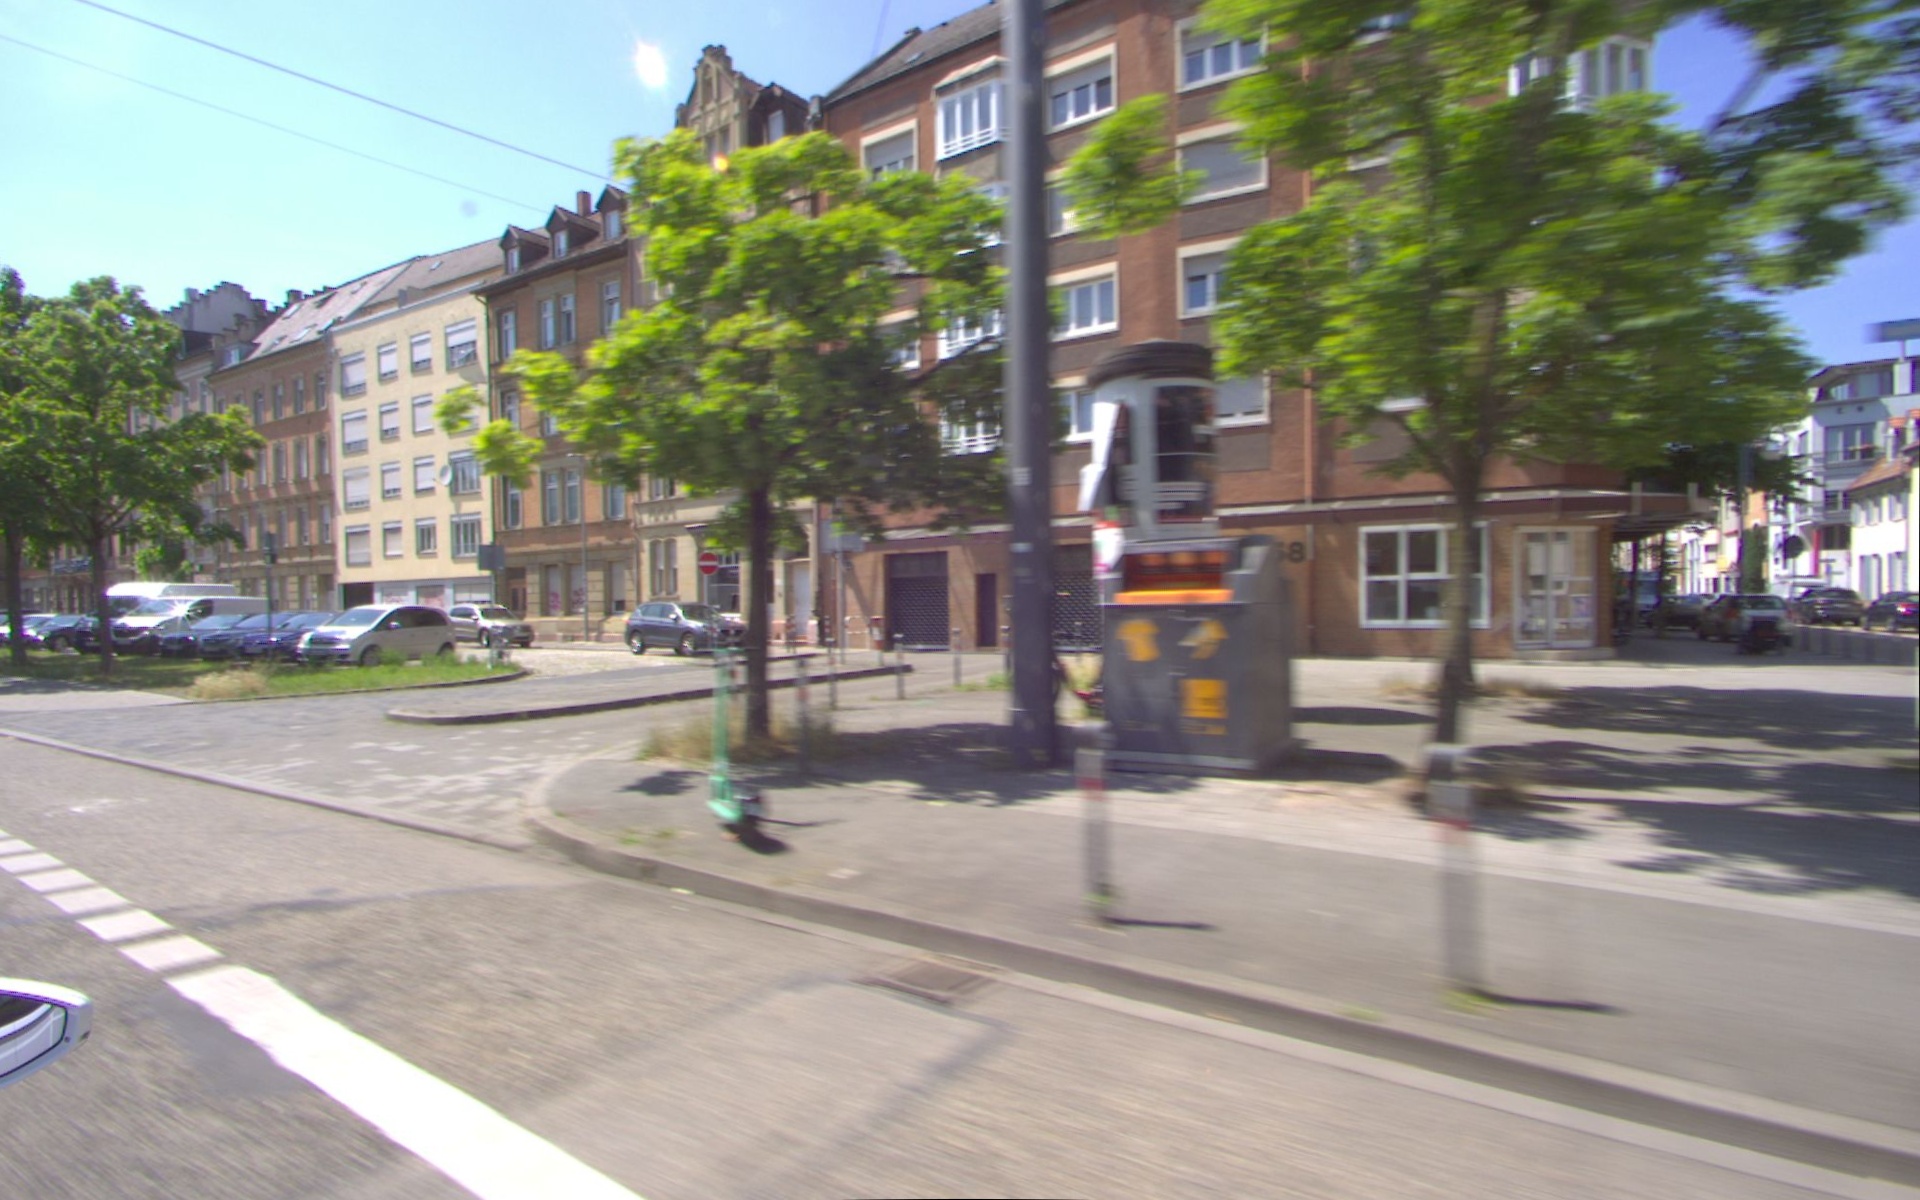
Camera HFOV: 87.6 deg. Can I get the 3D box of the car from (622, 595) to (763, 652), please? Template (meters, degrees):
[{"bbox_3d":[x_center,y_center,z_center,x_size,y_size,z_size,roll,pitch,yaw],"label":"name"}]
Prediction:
[{"bbox_3d":[-8.213,0.703,30.531,4.547,1.621,1.984,-1,-1,42],"label":"car"}]

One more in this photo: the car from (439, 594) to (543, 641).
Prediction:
[{"bbox_3d":[-17.887,0.668,38.152,3.944,1.706,1.815,0,-1,33],"label":"car"}]

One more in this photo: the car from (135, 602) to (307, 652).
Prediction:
[{"bbox_3d":[-22.291,0.785,30.397,1.790,1.405,3.997,0,-1,13],"label":"car"}]

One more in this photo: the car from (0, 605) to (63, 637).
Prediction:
[{"bbox_3d":[-42.322,0.924,44.244,1.679,1.418,4.001,0,-1,2],"label":"car"}]

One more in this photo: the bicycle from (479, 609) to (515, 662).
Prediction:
[{"bbox_3d":[-11.084,0.820,24.014,0.729,1.208,2.352,0,-1,-24],"label":"bicycle"}]

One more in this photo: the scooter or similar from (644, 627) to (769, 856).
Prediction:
[{"bbox_3d":[-1.625,0.830,6.333,0.386,1.231,1.172,-4,5,-31],"label":"scooter or similar"}]

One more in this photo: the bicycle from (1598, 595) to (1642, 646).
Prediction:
[{"bbox_3d":[17.511,0.537,26.620,0.694,1.303,2.712,0,-1,27],"label":"bicycle"}]

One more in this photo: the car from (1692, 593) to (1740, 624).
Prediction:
[{"bbox_3d":[52.687,0.627,69.862,1.969,2.062,4.808,0,-1,29],"label":"car"}]

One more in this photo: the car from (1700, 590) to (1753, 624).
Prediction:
[{"bbox_3d":[48.904,0.473,63.999,1.969,2.062,4.808,0,-1,29],"label":"car"}]

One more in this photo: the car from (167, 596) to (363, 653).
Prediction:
[{"bbox_3d":[-19.831,0.690,28.855,1.928,1.516,4.631,0,-1,10],"label":"car"}]

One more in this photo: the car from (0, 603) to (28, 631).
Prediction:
[{"bbox_3d":[-46.944,0.790,46.668,2.109,1.330,4.785,0,-1,12],"label":"car"}]

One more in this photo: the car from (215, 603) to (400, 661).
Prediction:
[{"bbox_3d":[-17.184,0.819,26.602,1.790,1.417,3.997,0,-1,13],"label":"car"}]

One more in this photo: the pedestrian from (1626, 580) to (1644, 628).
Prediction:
[{"bbox_3d":[24.250,0.160,35.997,0.482,1.710,0.468,0,0,28],"label":"pedestrian"}]

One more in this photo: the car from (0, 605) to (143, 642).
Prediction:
[{"bbox_3d":[-34.317,0.881,38.586,1.934,1.356,4.432,0,-1,2],"label":"car"}]

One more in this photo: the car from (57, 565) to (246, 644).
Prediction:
[{"bbox_3d":[-27.681,0.188,34.626,2.194,2.492,5.552,0,-1,-2],"label":"car"}]

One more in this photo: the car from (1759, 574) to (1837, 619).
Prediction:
[{"bbox_3d":[40.507,-0.117,48.515,1.969,2.062,4.808,0,-1,29],"label":"car"}]

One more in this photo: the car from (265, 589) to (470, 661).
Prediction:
[{"bbox_3d":[-14.674,0.606,25.145,1.962,1.653,4.410,0,-1,12],"label":"car"}]

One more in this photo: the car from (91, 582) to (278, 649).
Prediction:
[{"bbox_3d":[-24.995,0.501,32.560,2.036,1.999,4.848,0,-1,5],"label":"car"}]

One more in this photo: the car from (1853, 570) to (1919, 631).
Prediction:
[{"bbox_3d":[33.608,0.057,35.405,1.969,2.062,4.808,0,-1,29],"label":"car"}]

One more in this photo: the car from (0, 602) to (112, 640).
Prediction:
[{"bbox_3d":[-37.173,0.829,40.467,1.934,1.446,4.693,0,-1,-2],"label":"car"}]

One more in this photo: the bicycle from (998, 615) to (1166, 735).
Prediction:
[{"bbox_3d":[1.249,0.742,10.401,1.684,1.168,0.485,0,0,32],"label":"bicycle"}]

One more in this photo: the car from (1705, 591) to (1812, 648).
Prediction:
[{"bbox_3d":[23.050,0.553,29.040,1.584,1.539,3.820,0,-1,26],"label":"car"}]

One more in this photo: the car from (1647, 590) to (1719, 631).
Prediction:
[{"bbox_3d":[28.402,0.419,39.459,1.635,1.512,3.820,0,-1,26],"label":"car"}]

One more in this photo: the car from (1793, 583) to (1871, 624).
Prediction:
[{"bbox_3d":[37.640,0.176,43.306,1.809,1.706,3.982,0,-1,30],"label":"car"}]

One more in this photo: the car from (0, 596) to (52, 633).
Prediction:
[{"bbox_3d":[-44.739,0.659,46.140,1.934,1.683,3.999,0,-1,8],"label":"car"}]

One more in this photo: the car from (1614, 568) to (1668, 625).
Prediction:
[{"bbox_3d":[33.409,-0.124,49.183,1.635,2.674,3.820,0,-1,26],"label":"car"}]
